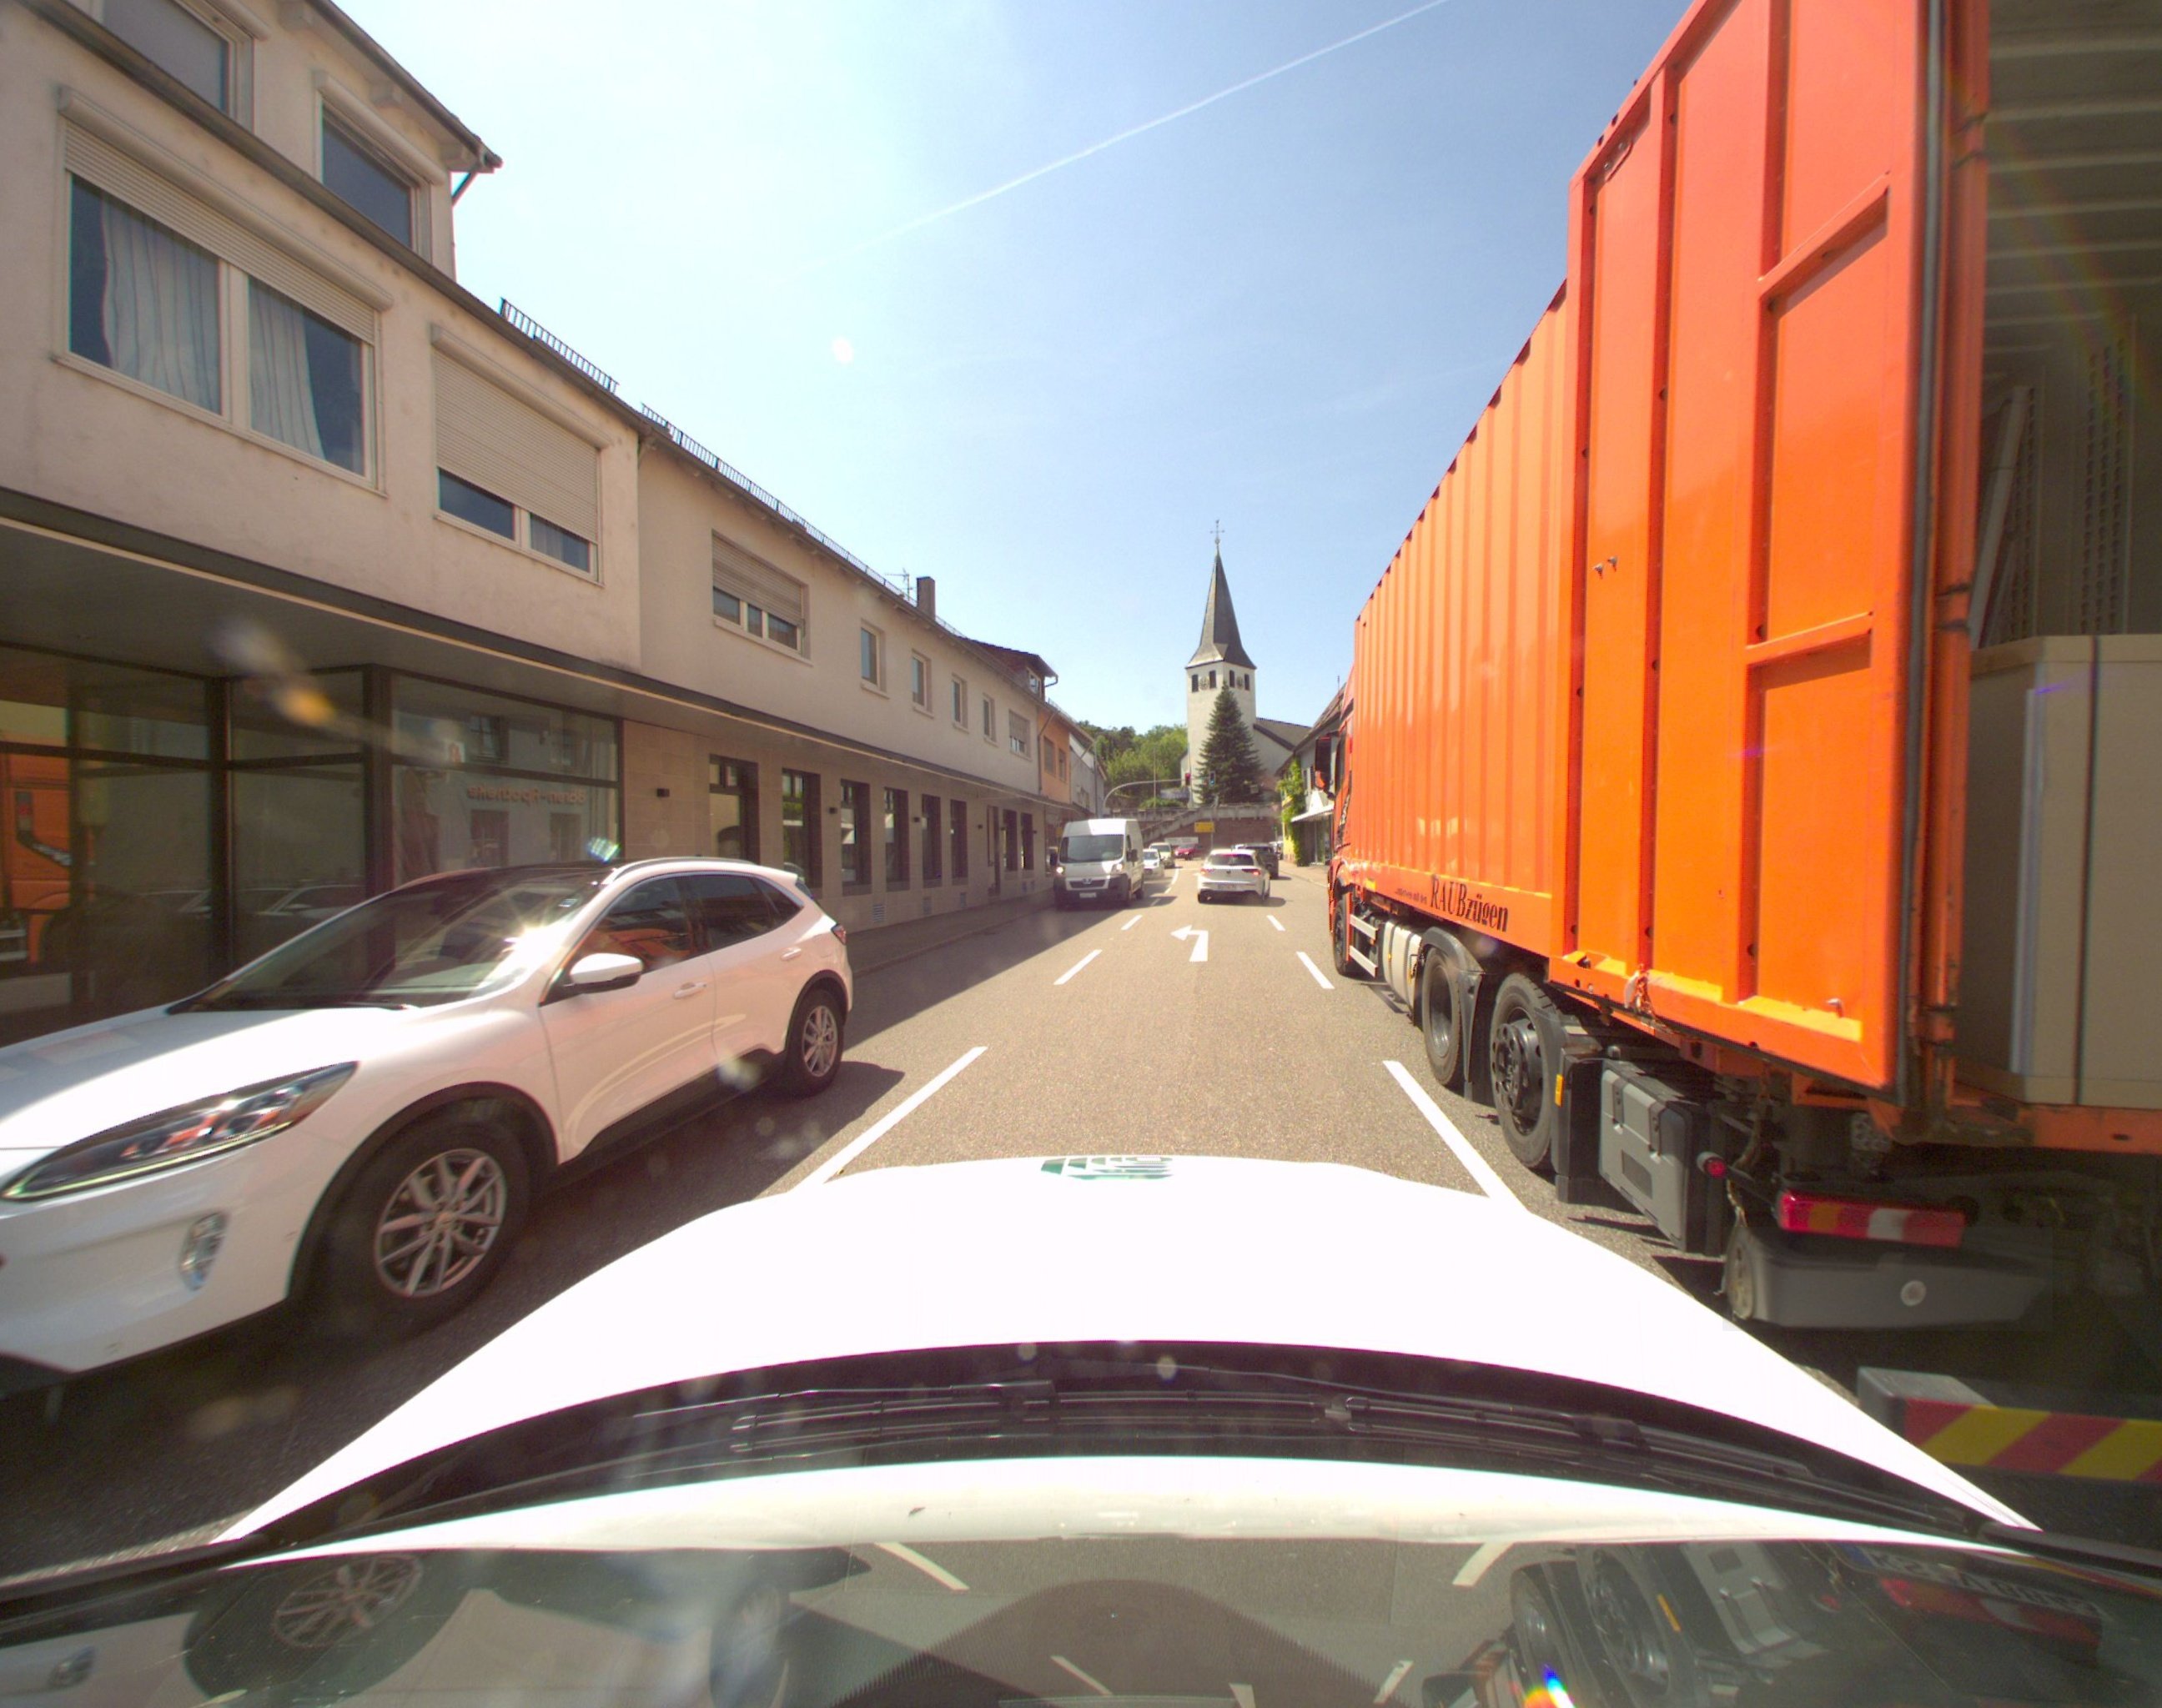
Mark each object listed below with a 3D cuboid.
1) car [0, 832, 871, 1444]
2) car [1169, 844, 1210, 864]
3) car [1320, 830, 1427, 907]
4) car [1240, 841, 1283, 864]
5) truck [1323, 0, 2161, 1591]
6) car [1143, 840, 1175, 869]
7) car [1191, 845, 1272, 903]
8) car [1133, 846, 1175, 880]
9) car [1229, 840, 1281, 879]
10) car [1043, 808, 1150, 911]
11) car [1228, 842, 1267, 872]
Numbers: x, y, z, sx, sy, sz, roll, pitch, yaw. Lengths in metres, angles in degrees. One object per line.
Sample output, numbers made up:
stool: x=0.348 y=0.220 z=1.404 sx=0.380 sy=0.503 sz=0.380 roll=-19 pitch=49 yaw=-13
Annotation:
car: x=-2.877 y=0.788 z=4.287 sx=1.807 sy=1.555 sz=4.209 roll=-3 pitch=-1 yaw=9
car: x=9.076 y=-0.022 z=67.882 sx=1.701 sy=1.408 sz=4.313 roll=-3 pitch=1 yaw=33
car: x=7.478 y=0.334 z=21.248 sx=1.980 sy=1.708 sz=4.114 roll=-3 pitch=0 yaw=12
car: x=14.368 y=-0.141 z=64.543 sx=1.930 sy=1.582 sz=4.354 roll=0 pitch=3 yaw=33
truck: x=3.769 y=-0.593 z=6.345 sx=2.592 sy=3.945 sz=10.022 roll=-1 pitch=0 yaw=11
car: x=4.989 y=0.014 z=51.710 sx=1.669 sy=1.617 sz=3.832 roll=-3 pitch=1 yaw=10
car: x=4.300 y=0.506 z=22.769 sx=1.769 sy=1.458 sz=3.880 roll=-1 pitch=0 yaw=17
car: x=3.519 y=0.410 z=39.010 sx=1.586 sy=1.455 sz=3.457 roll=-3 pitch=0 yaw=11
car: x=7.981 y=0.206 z=37.661 sx=1.939 sy=1.582 sz=4.335 roll=-1 pitch=2 yaw=6
car: x=0.604 y=0.125 z=23.746 sx=2.126 sy=2.568 sz=5.410 roll=-3 pitch=0 yaw=10
car: x=9.927 y=0.144 z=48.787 sx=1.939 sy=1.582 sz=4.335 roll=-1 pitch=2 yaw=6
